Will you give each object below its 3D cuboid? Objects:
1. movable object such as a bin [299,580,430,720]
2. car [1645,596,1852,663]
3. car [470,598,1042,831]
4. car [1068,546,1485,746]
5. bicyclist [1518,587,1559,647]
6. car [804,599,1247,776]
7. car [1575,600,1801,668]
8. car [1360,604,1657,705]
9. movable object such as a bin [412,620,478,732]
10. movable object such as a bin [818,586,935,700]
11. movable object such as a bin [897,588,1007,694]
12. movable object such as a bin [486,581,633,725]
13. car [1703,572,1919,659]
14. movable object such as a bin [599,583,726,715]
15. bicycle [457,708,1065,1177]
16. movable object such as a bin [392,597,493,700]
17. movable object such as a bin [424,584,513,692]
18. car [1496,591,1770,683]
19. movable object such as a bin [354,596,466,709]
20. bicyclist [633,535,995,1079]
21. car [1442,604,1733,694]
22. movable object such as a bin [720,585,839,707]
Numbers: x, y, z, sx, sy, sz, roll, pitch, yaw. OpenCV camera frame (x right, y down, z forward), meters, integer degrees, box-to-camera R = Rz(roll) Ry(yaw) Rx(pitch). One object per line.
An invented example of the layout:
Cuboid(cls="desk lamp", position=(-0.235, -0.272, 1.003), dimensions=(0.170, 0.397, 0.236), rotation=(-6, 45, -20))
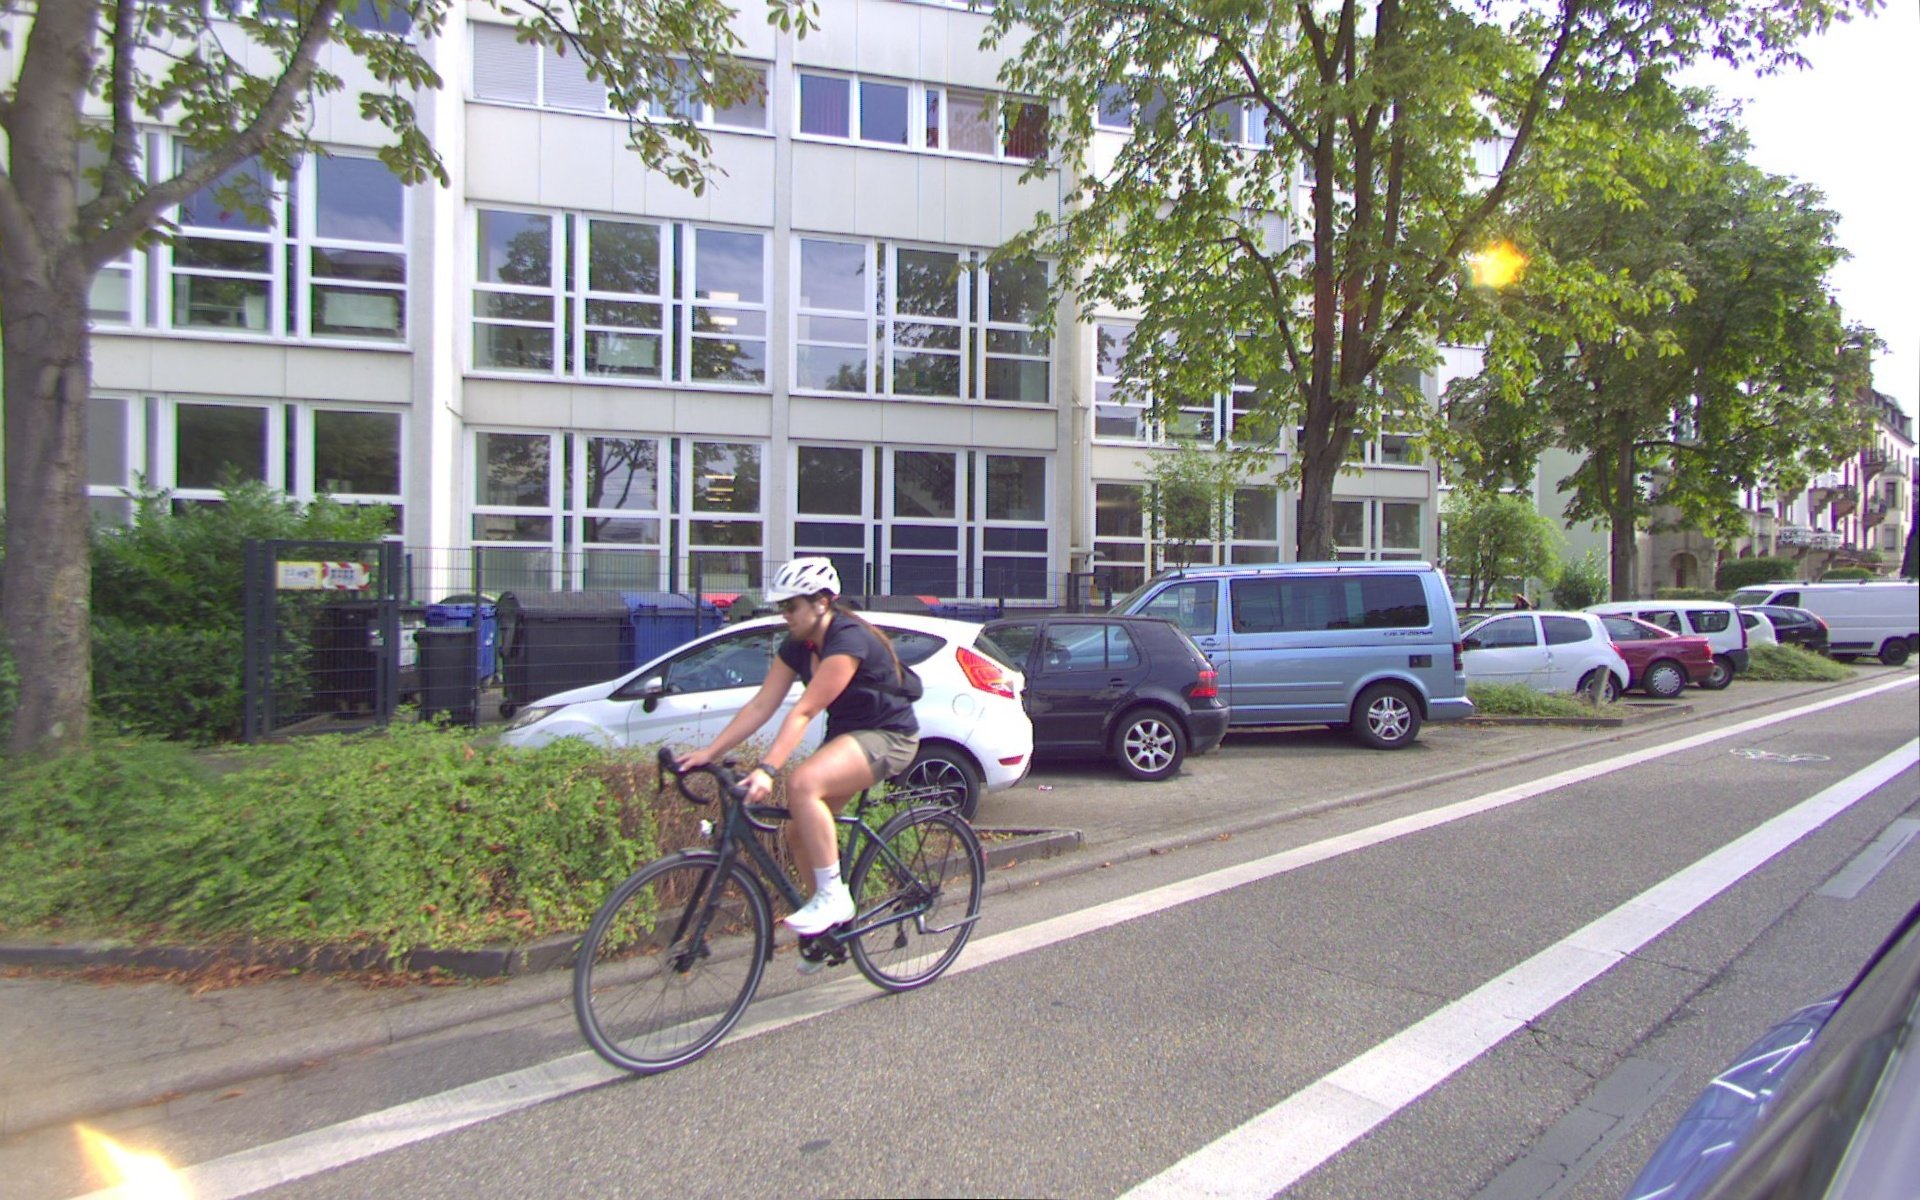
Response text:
Cuboid(cls="movable object such as a bin", position=(-6.918, 0.550, 11.832), dimensions=(1.056, 1.542, 1.121), rotation=(0, -1, -16))
Cuboid(cls="car", position=(20.274, 0.727, 26.156), dimensions=(3.891, 1.669, 1.687), rotation=(0, 0, 6))
Cuboid(cls="car", position=(-1.316, 0.729, 7.377), dimensions=(3.759, 1.478, 1.639), rotation=(0, 0, 4))
Cuboid(cls="car", position=(3.357, 0.472, 11.480), dimensions=(4.201, 2.040, 1.829), rotation=(0, 0, 6))
Cuboid(cls="bicyclist", position=(14.768, 0.423, 25.832), dimensions=(0.787, 1.488, 0.648), rotation=(1, 2, -42))
Cuboid(cls="car", position=(0.570, 0.742, 9.458), dimensions=(3.759, 1.478, 1.675), rotation=(0, 0, 4))
Cuboid(cls="car", position=(17.222, 0.785, 24.092), dimensions=(4.020, 1.530, 1.687), rotation=(0, 0, 6))
Cuboid(cls="car", position=(8.358, 0.792, 15.700), dimensions=(3.651, 1.451, 1.687), rotation=(0, 0, 6))
Cuboid(cls="movable object such as a bin", position=(-5.391, 0.769, 10.585), dimensions=(0.561, 1.117, 0.653), rotation=(0, -1, -31))
Cuboid(cls="movable object such as a bin", position=(-1.194, 0.587, 14.430), dimensions=(1.299, 1.527, 1.071), rotation=(1, -1, -39))
Cuboid(cls="movable object such as a bin", position=(-0.122, 0.593, 15.376), dimensions=(1.299, 1.527, 1.071), rotation=(1, -1, -39))
Cuboid(cls="movable object such as a bin", position=(-4.587, 0.570, 11.599), dimensions=(1.310, 1.527, 1.071), rotation=(1, -1, -39))
Cuboid(cls="car", position=(24.180, 0.410, 28.302), dimensions=(4.875, 2.319, 2.380), rotation=(0, 0, 8))
Cuboid(cls="movable object such as a bin", position=(-3.694, 0.576, 12.565), dimensions=(1.192, 1.527, 1.071), rotation=(1, -1, -39))
Cuboid(cls="bicycle", position=(-0.553, 0.973, 3.511), dimensions=(2.036, 0.993, 0.639), rotation=(0, 0, -43))
Cuboid(cls="movable object such as a bin", position=(-7.202, 0.650, 14.148), dimensions=(1.056, 1.385, 1.037), rotation=(0, -1, -16))
Cuboid(cls="movable object such as a bin", position=(-7.491, 0.562, 15.476), dimensions=(1.056, 1.582, 1.037), rotation=(0, -1, -16))
Cuboid(cls="car", position=(12.822, 0.676, 19.488), dimensions=(4.036, 1.689, 1.687), rotation=(0, 0, 5))
Cuboid(cls="movable object such as a bin", position=(-7.060, 0.642, 13.053), dimensions=(1.056, 1.385, 1.037), rotation=(0, -1, -16))
Cuboid(cls="bicyclist", position=(-0.491, 0.603, 3.572), dimensions=(1.091, 1.590, 0.639), rotation=(1, 0, -42))
Cuboid(cls="car", position=(10.713, 0.804, 17.546), dimensions=(3.909, 1.451, 1.685), rotation=(0, 0, 8))
Cuboid(cls="movable object such as a bin", position=(-2.394, 0.581, 13.422), dimensions=(1.192, 1.527, 1.071), rotation=(1, -1, -39))
